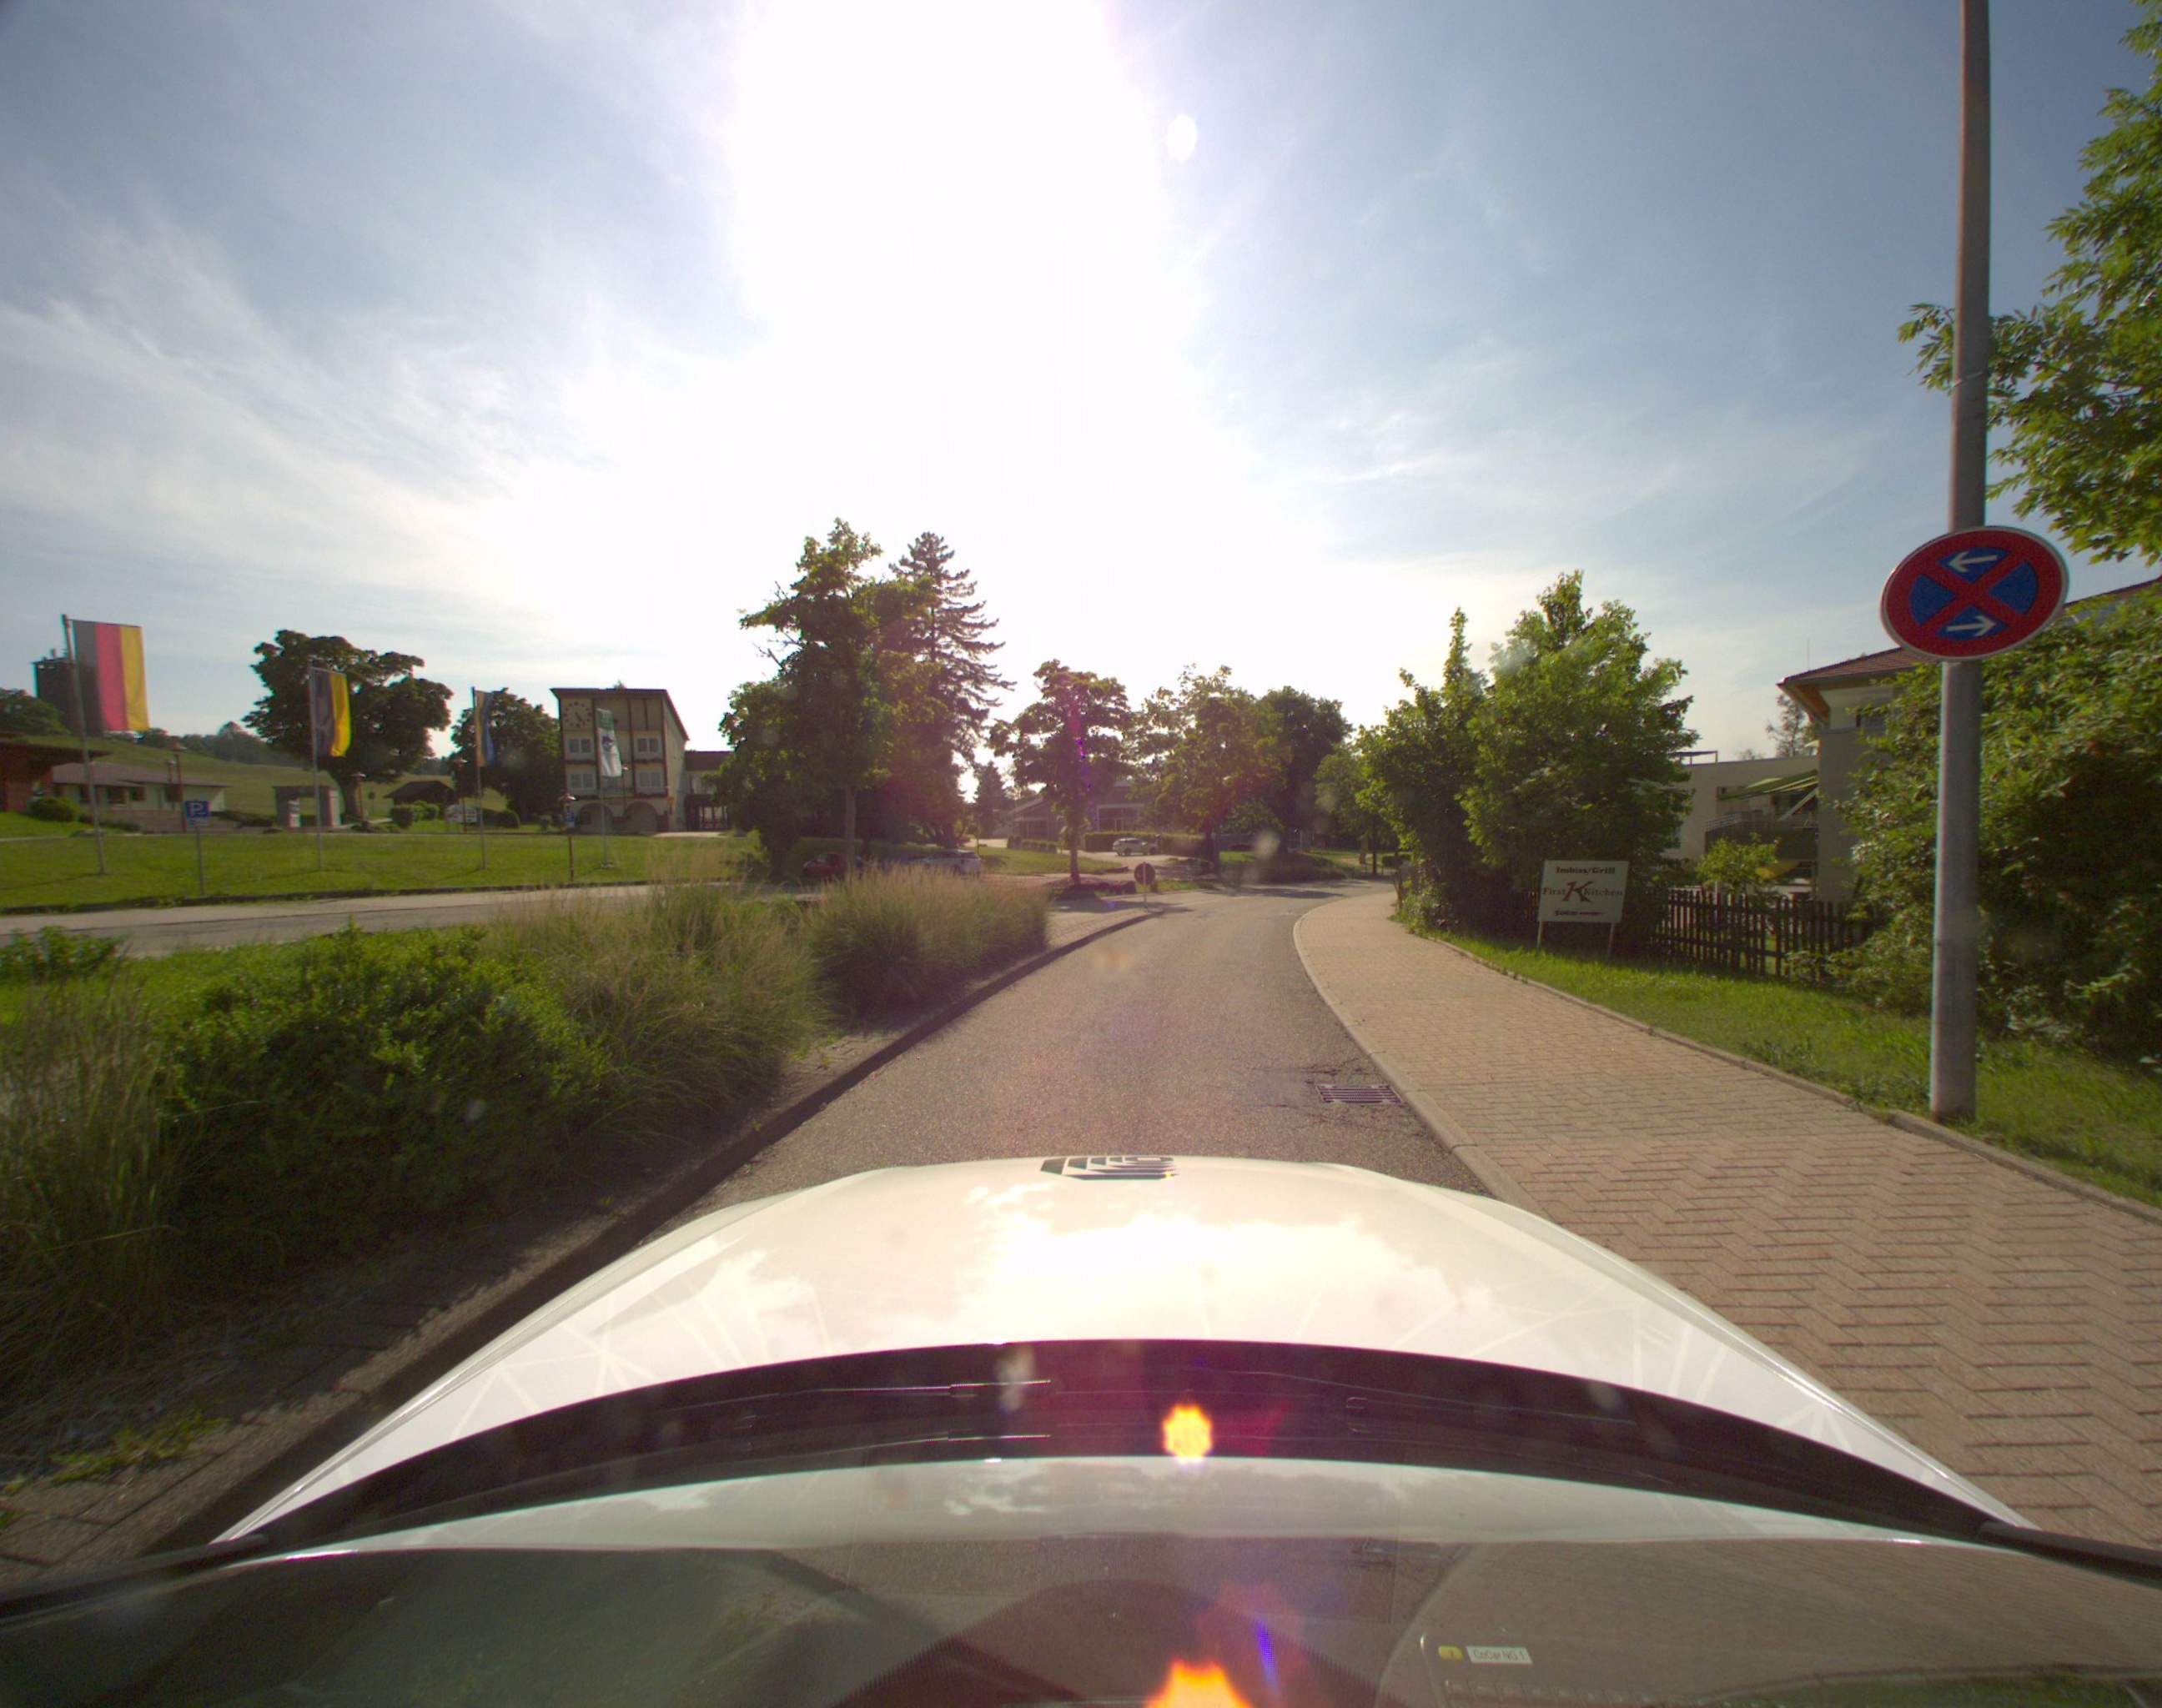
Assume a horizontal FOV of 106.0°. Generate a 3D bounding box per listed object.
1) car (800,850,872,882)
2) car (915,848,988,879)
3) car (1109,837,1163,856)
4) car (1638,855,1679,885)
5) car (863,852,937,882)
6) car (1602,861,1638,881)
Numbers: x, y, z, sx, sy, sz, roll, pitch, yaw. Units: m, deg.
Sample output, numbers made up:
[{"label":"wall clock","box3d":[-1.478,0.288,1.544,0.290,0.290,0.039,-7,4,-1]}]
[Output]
[{"label":"car","box3d":[-12.218,0.594,40.642,3.167,1.470,1.787,2,1,33]},{"label":"car","box3d":[-7.404,0.535,46.497,3.891,1.609,1.787,2,1,34]},{"label":"car","box3d":[5.238,-0.723,77.101,4.735,1.533,1.986,-2,6,-23]},{"label":"car","box3d":[39.989,1.070,56.307,1.786,1.935,4.763,0,0,42]},{"label":"car","box3d":[-9.586,0.636,42.988,3.666,1.433,1.787,2,1,35]},{"label":"car","box3d":[40.159,1.250,60.689,1.692,1.427,4.031,0,0,41]}]
